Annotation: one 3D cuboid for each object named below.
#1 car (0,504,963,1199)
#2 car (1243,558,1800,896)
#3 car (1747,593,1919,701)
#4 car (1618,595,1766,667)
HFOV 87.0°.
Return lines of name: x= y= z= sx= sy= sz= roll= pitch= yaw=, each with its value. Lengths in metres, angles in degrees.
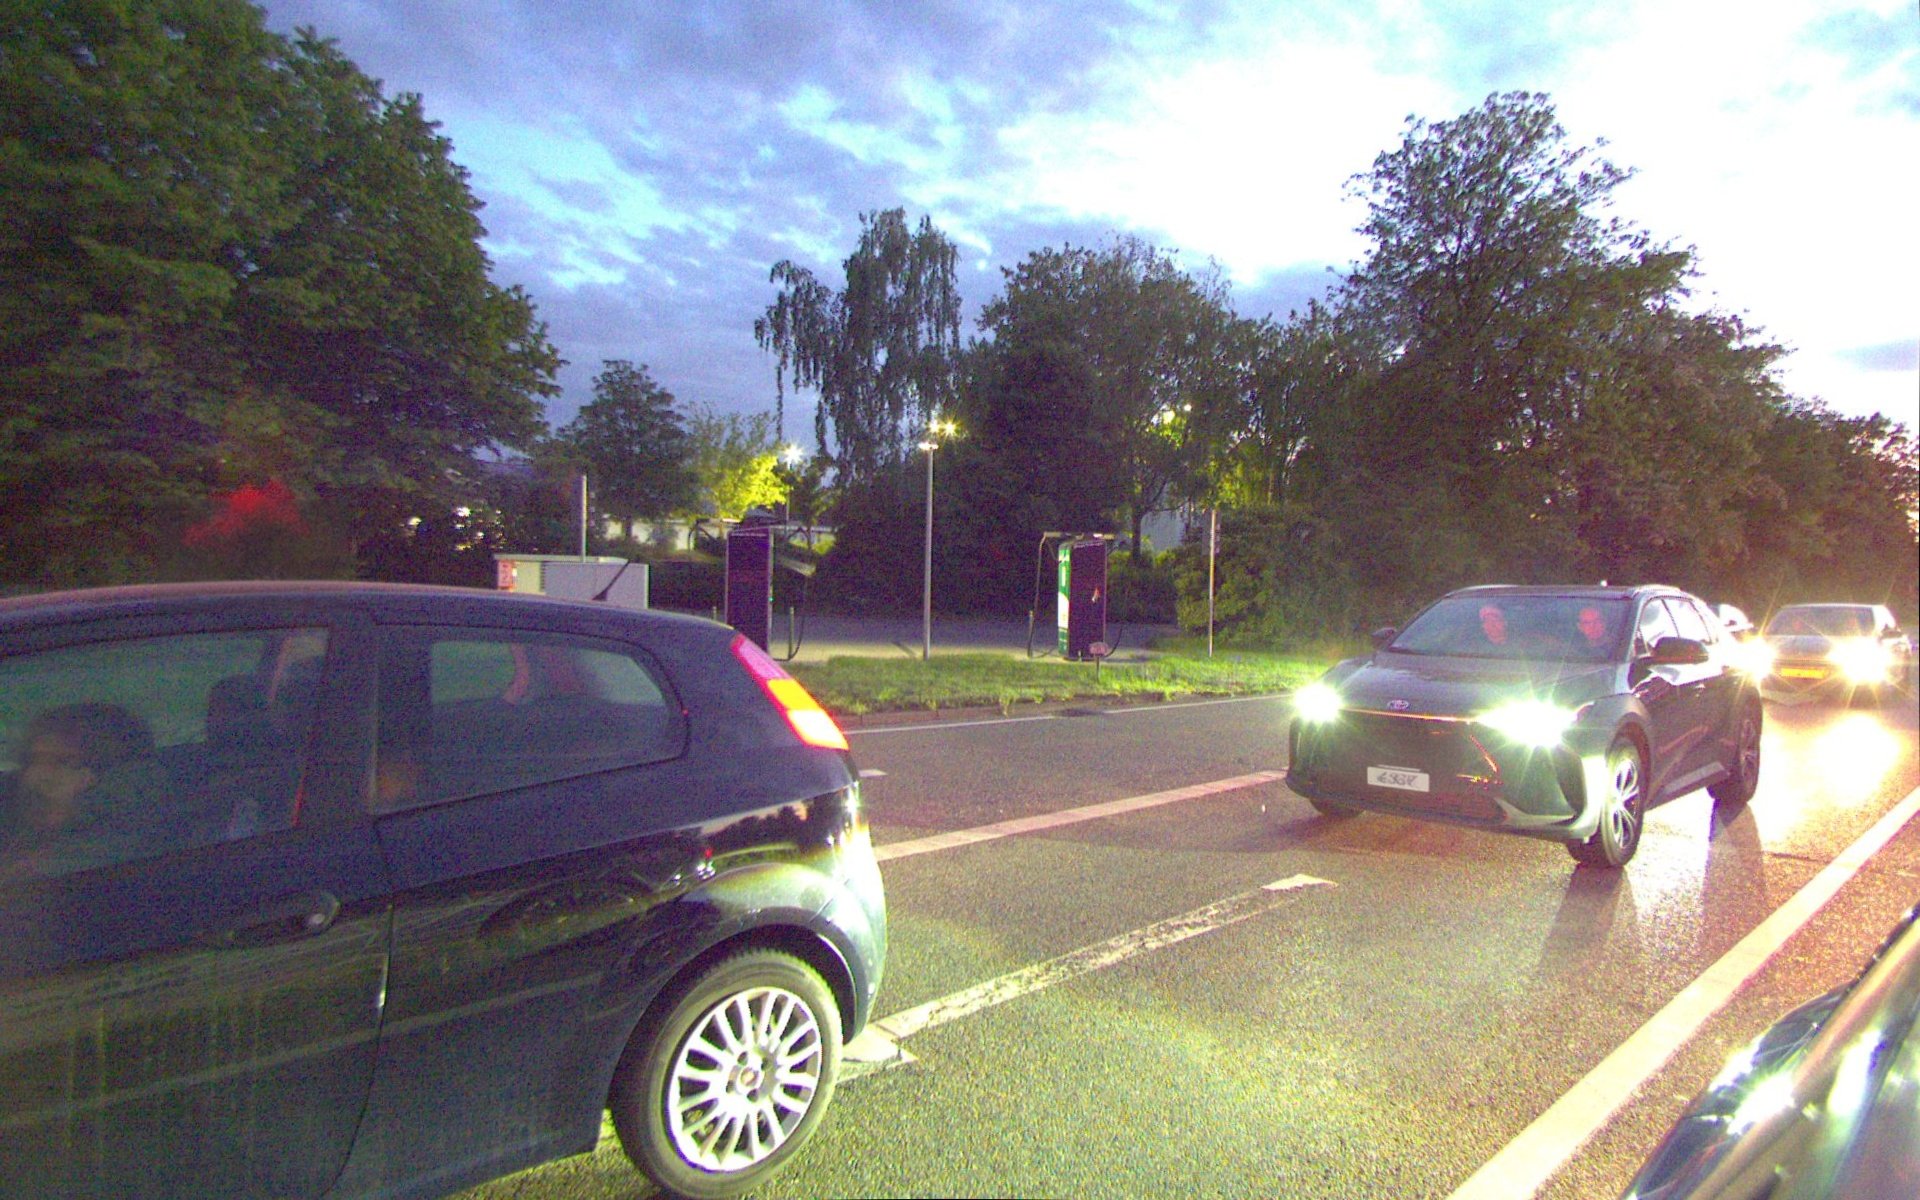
car: x=-2.076 y=0.610 z=2.159 sx=4.032 sy=1.540 sz=1.674 roll=0 pitch=1 yaw=-39
car: x=4.190 y=0.603 z=7.174 sx=4.629 sy=1.630 sz=1.997 roll=0 pitch=0 yaw=-41
car: x=13.727 y=0.637 z=15.767 sx=3.803 sy=1.487 sz=1.622 roll=0 pitch=0 yaw=-41
car: x=16.680 y=0.625 z=22.967 sx=4.625 sy=1.450 sz=1.920 roll=0 pitch=1 yaw=-44
